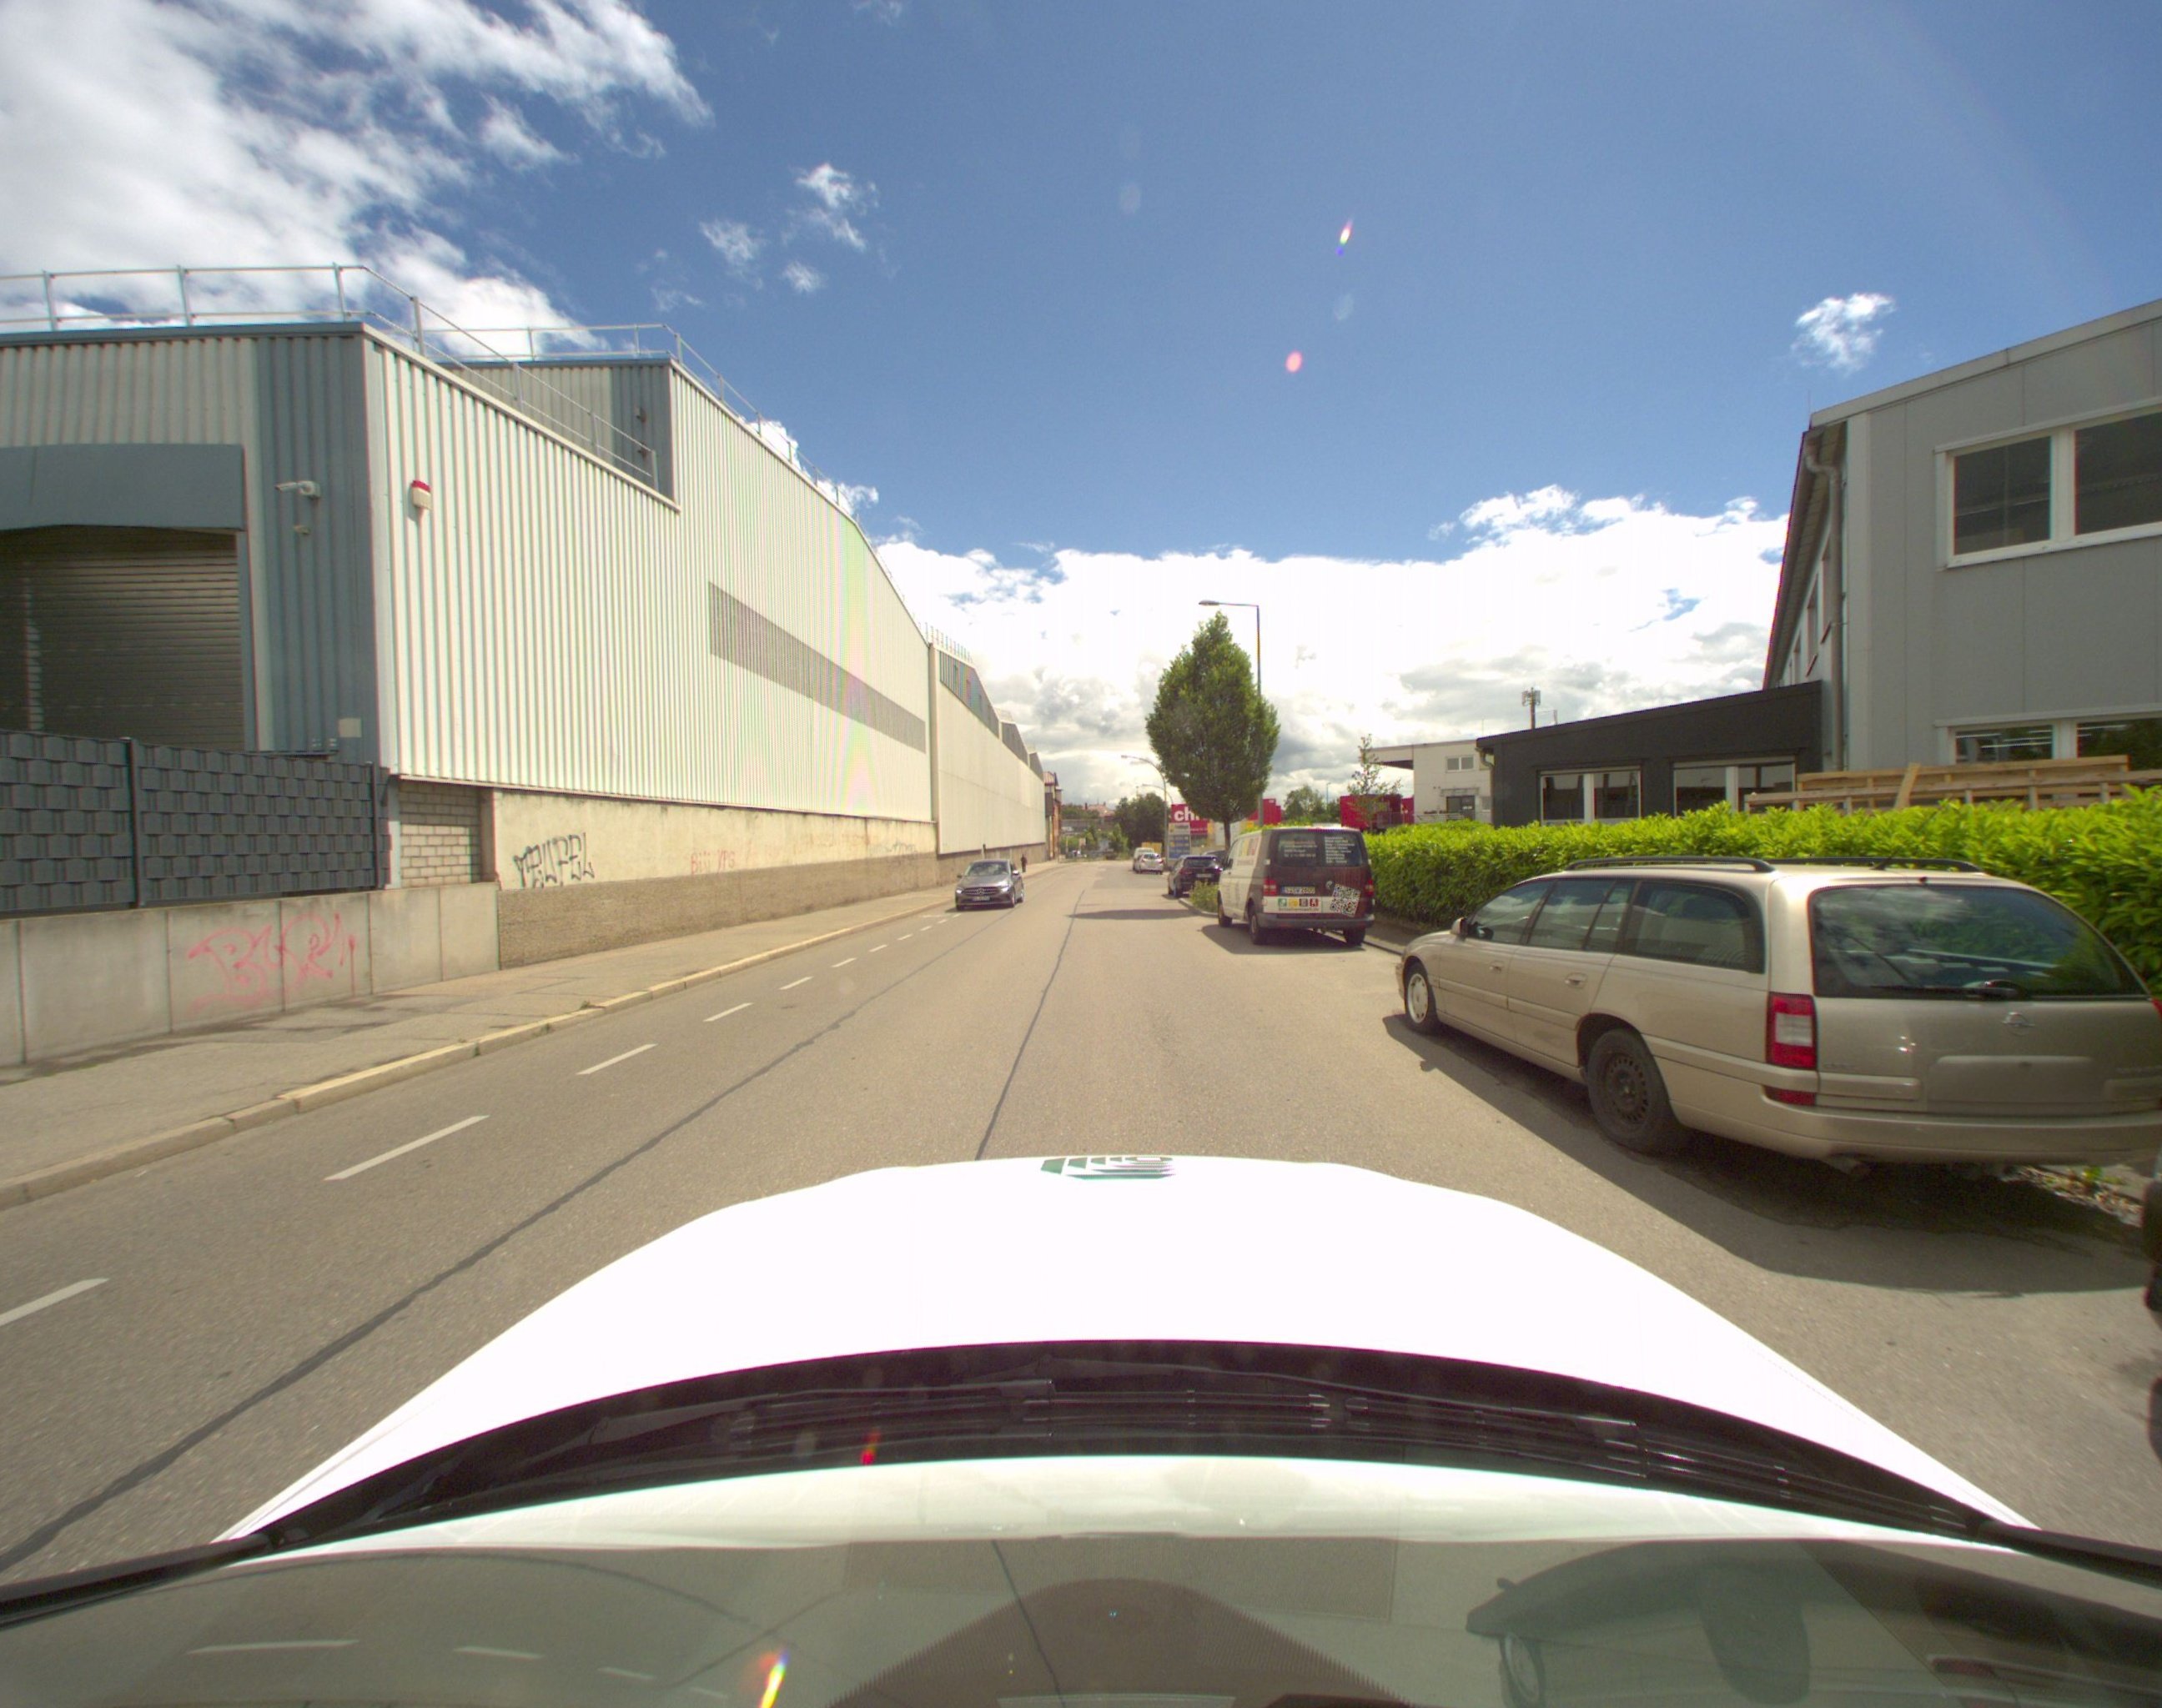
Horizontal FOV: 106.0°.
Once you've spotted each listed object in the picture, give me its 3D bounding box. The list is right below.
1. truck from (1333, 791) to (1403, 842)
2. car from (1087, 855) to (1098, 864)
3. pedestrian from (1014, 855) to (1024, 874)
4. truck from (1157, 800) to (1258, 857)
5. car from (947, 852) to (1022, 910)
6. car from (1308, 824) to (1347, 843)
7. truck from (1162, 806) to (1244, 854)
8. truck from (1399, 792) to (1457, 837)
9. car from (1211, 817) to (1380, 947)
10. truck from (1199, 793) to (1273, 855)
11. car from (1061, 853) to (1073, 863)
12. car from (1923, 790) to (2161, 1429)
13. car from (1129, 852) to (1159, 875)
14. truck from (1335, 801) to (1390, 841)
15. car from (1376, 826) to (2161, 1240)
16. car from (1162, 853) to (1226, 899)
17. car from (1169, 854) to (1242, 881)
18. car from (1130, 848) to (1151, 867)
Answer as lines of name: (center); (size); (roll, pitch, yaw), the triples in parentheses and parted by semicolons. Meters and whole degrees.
truck: (26.024, -3.237, 73.547); (2.961, 4.060, 8.530); (-3, -2, 40)
car: (1.936, 0.945, 137.589); (1.846, 1.486, 4.000); (-1, -2, 1)
pedestrian: (-5.309, 0.898, 70.097); (0.710, 1.638, 0.777); (-1, -2, 3)
truck: (11.321, -2.200, 73.045); (8.376, 4.671, 2.596); (-2, -2, 22)
car: (-2.993, 0.840, 26.053); (1.713, 1.555, 4.288); (-4, -1, 1)
car: (38.524, -3.199, 127.367); (5.589, 2.677, 2.010); (-2, -2, 22)
truck: (12.935, -2.487, 86.254); (8.394, 4.671, 2.590); (-2, -2, 11)
truck: (36.200, -3.992, 84.785); (2.961, 4.060, 8.530); (-3, -2, 40)
car: (3.739, 0.443, 15.207); (1.862, 1.990, 5.144); (-1, 0, 1)
truck: (12.466, -2.322, 66.163); (2.579, 4.449, 7.818); (-1, -2, -16)
car: (-2.154, 0.641, 126.183); (1.846, 1.486, 4.000); (-1, -2, 1)
car: (3.513, 0.634, 0.581); (1.672, 1.638, 4.126); (-1, 0, 3)
car: (4.575, 0.673, 59.195); (1.697, 1.527, 3.734); (2, 0, -2)
truck: (32.273, -3.697, 93.088); (2.961, 4.060, 8.530); (-3, -2, 40)
car: (3.631, 0.682, 5.454); (1.649, 1.540, 4.735); (-1, 0, 1)
car: (3.926, 0.718, 28.871); (1.708, 1.473, 4.512); (-1, 0, 1)
car: (7.117, 0.757, 46.575); (3.796, 1.447, 1.694); (-1, 0, -21)
car: (5.082, 0.281, 69.949); (1.694, 1.527, 3.741); (-1, 0, 3)
